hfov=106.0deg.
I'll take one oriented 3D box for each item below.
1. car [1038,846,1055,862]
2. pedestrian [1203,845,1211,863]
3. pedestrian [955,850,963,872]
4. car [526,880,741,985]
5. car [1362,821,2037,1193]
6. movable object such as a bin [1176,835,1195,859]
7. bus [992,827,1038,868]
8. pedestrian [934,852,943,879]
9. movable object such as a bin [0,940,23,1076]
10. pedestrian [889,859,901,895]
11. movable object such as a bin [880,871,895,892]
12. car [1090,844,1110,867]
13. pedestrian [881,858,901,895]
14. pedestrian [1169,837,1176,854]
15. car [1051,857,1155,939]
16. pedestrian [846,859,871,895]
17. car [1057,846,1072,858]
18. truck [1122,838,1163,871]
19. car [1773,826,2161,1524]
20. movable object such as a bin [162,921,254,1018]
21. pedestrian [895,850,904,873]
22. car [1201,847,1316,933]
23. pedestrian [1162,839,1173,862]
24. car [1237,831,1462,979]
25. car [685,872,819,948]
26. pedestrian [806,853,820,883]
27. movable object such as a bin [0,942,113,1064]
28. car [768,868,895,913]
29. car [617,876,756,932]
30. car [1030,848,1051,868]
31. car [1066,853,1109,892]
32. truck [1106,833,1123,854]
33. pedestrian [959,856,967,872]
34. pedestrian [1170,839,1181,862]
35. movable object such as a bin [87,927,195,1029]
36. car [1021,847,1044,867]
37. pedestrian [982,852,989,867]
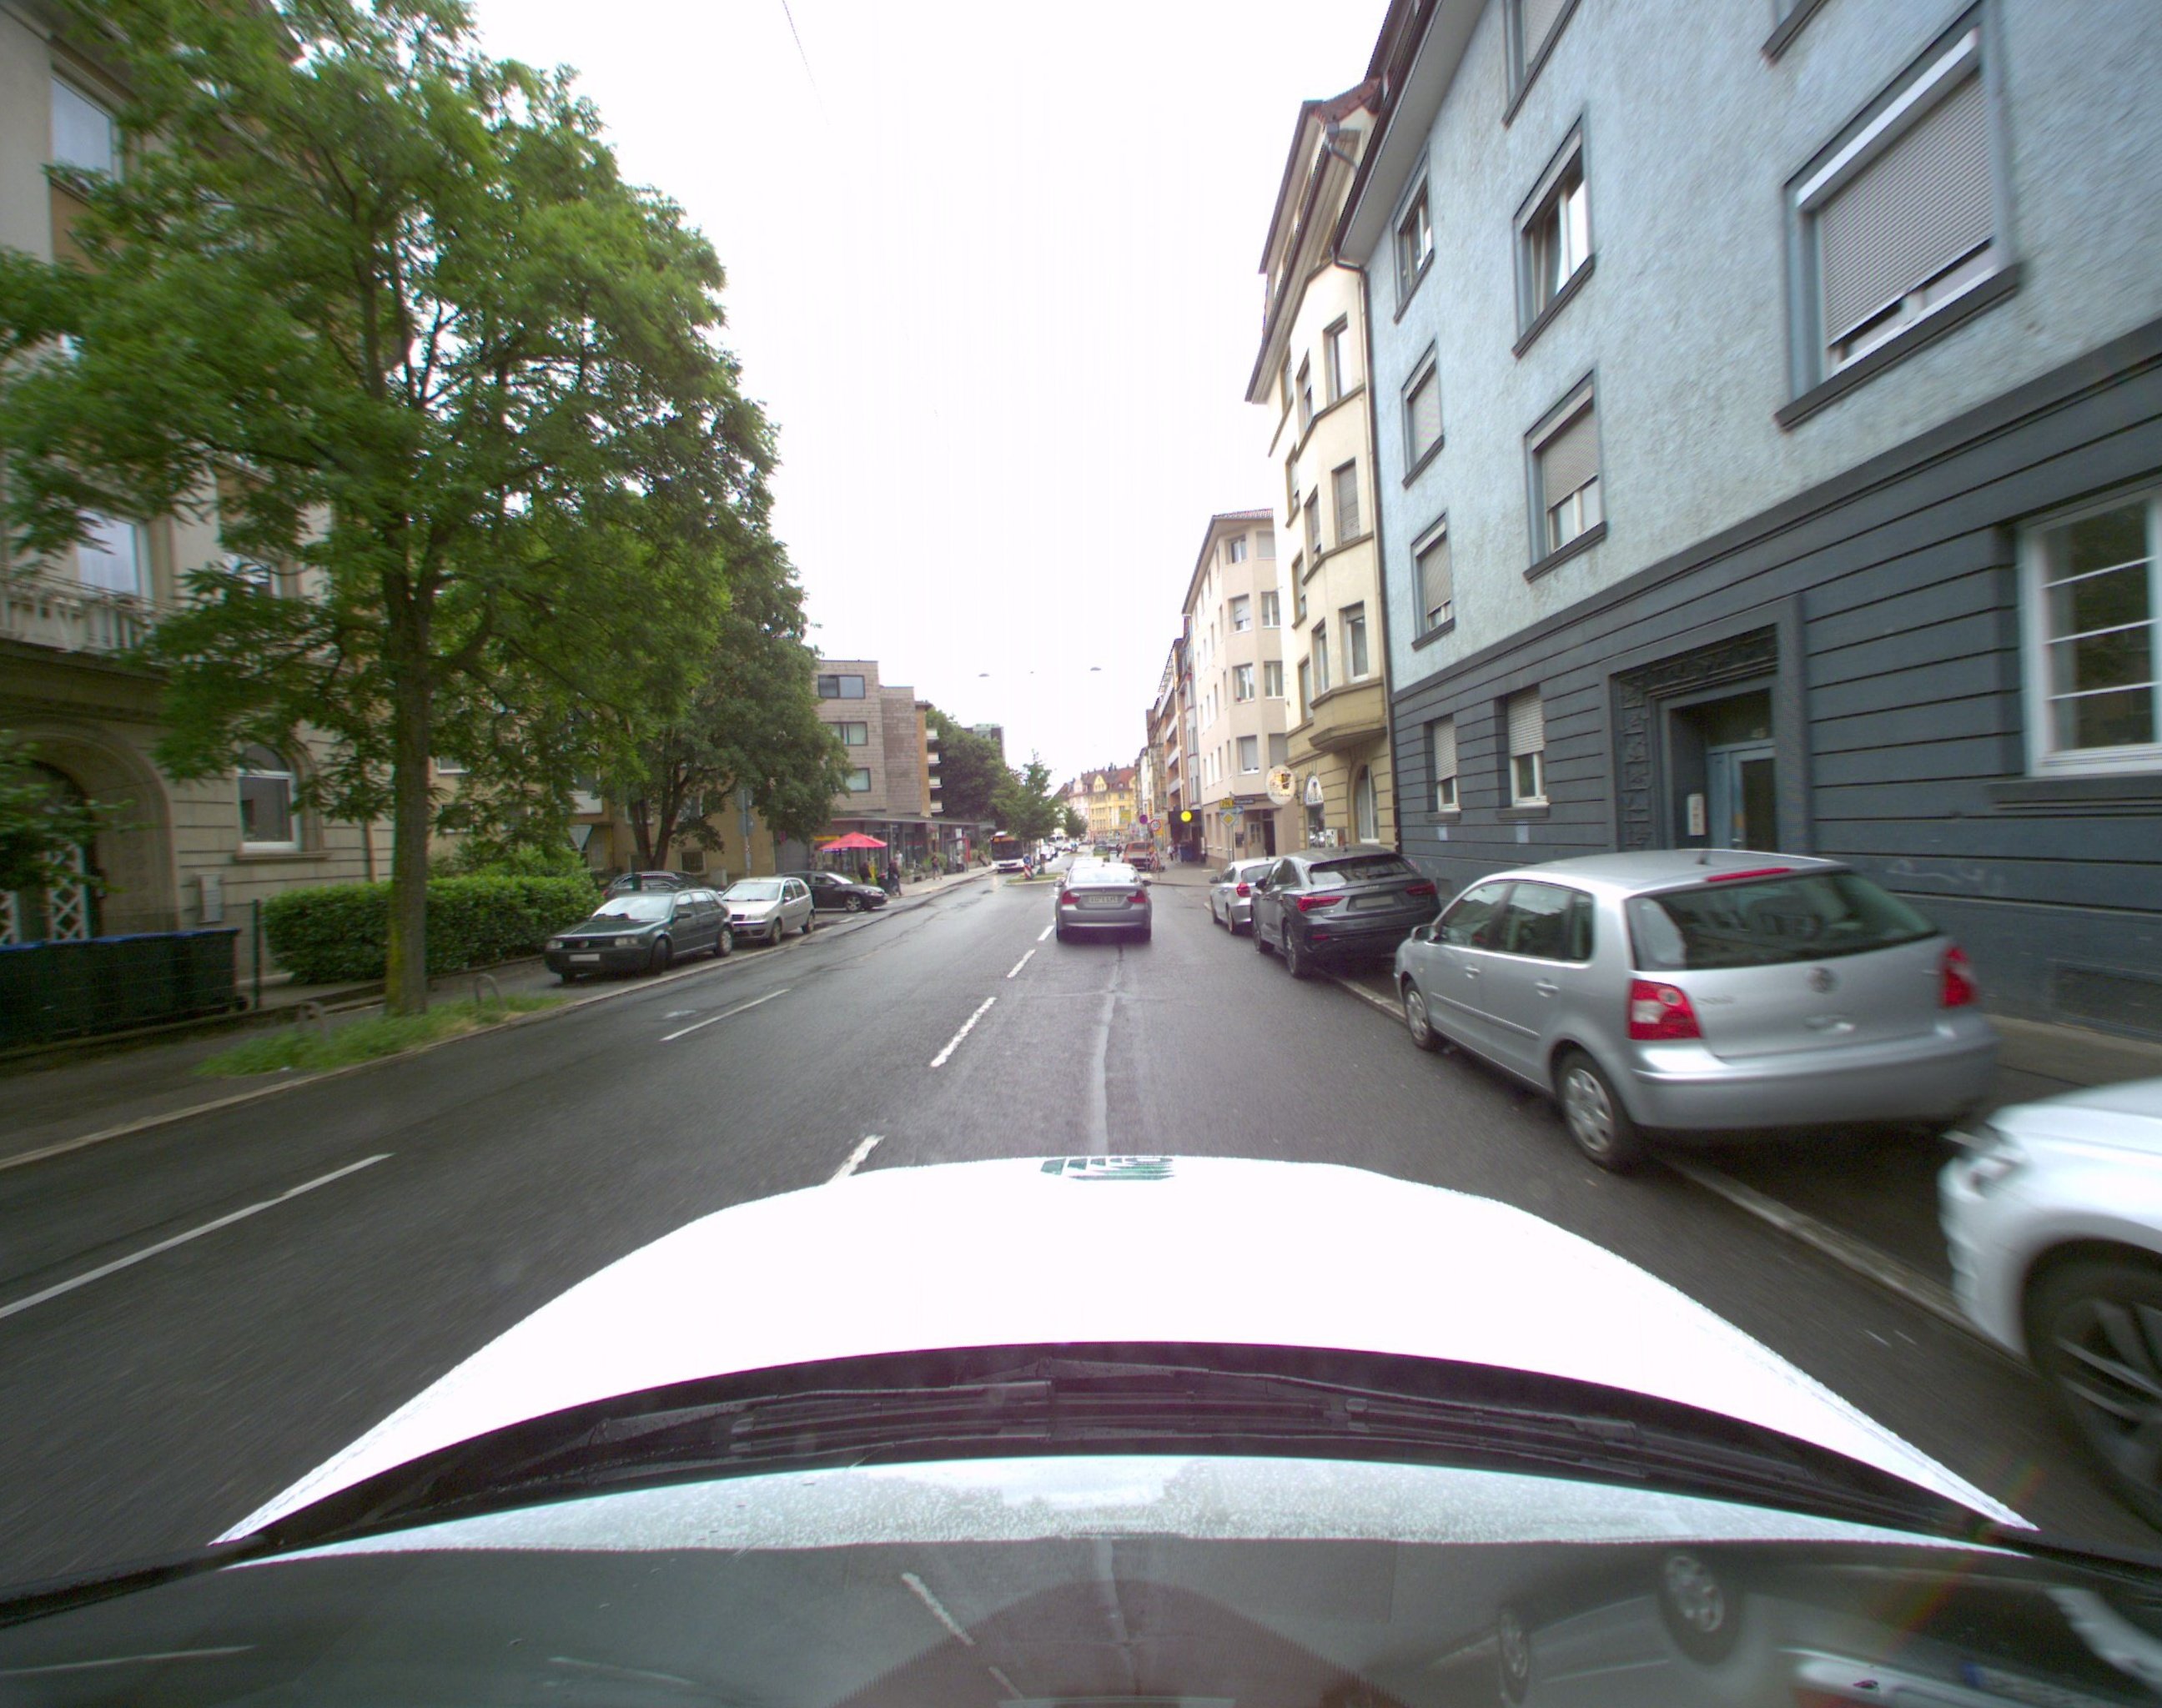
[{"bbox_3d":[-4.410,-0.005,104.798,1.986,2.014,4.000,0,-1,1],"label":"car"},{"bbox_3d":[8.494,0.008,55.071,0.411,1.203,0.357,-5,1,4],"label":"pedestrian"},{"bbox_3d":[-9.380,0.551,62.593,0.542,1.709,0.465,0,-1,-5],"label":"pedestrian"},{"bbox_3d":[-7.883,1.303,14.816,1.648,1.454,3.942,-3,0,0],"label":"car"},{"bbox_3d":[3.231,0.646,5.241,1.577,1.429,3.596,-6,0,2],"label":"car"},{"bbox_3d":[7.937,-0.500,61.819,1.119,1.702,1.433,-4,-1,-1],"label":"movable object such as a bin"},{"bbox_3d":[-5.415,-0.408,68.551,2.671,3.201,11.957,0,-1,1],"label":"bus"},{"bbox_3d":[-9.668,0.795,55.213,0.545,1.790,0.463,0,-1,-21],"label":"pedestrian"},{"bbox_3d":[-10.783,1.517,7.797,0.438,1.308,0.609,-3,0,1],"label":"movable object such as a bin"},{"bbox_3d":[-8.859,1.077,38.781,0.466,1.709,0.541,0,-1,-19],"label":"pedestrian"},{"bbox_3d":[-10.168,1.428,42.756,0.551,1.081,0.731,-4,-1,2],"label":"movable object such as a bin"},{"bbox_3d":[1.722,0.206,73.321,1.700,2.014,3.999,0,-1,0],"label":"car"},{"bbox_3d":[-9.207,1.103,39.368,0.742,1.709,0.676,-5,0,-19],"label":"pedestrian"},{"bbox_3d":[8.967,-0.834,79.847,0.611,1.661,0.756,0,-1,8],"label":"pedestrian"},{"bbox_3d":[0.435,0.777,15.549,1.749,1.362,3.166,-1,-1,2],"label":"car"},{"bbox_3d":[-11.061,1.153,40.497,1.061,1.731,0.712,-2,0,-8],"label":"pedestrian"},{"bbox_3d":[-2.813,-0.359,142.235,1.983,2.014,4.008,0,-1,7],"label":"car"},{"bbox_3d":[4.177,0.043,55.704,2.210,2.117,4.647,1,0,-3],"label":"truck"},{"bbox_3d":[3.100,0.662,0.630,1.723,1.429,3.975,-6,0,2],"label":"car"},{"bbox_3d":[-10.693,1.402,9.989,0.438,1.081,0.590,-3,0,1],"label":"movable object such as a bin"},{"bbox_3d":[-13.133,0.545,58.957,0.660,1.706,0.657,0,-1,-13],"label":"pedestrian"},{"bbox_3d":[3.573,0.673,17.046,1.563,1.464,4.091,-5,0,2],"label":"car"},{"bbox_3d":[6.585,-0.262,61.951,0.745,1.661,0.838,0,-1,8],"label":"pedestrian"},{"bbox_3d":[3.487,0.592,11.481,1.811,1.557,4.295,-5,0,2],"label":"car"},{"bbox_3d":[-7.589,1.236,19.192,1.627,1.454,3.837,-3,0,-2],"label":"car"},{"bbox_3d":[-16.712,0.881,50.818,0.637,1.816,0.632,-3,1,-27],"label":"pedestrian"},{"bbox_3d":[-10.713,1.528,8.476,0.438,1.130,0.657,-3,0,1],"label":"movable object such as a bin"},{"bbox_3d":[-8.566,1.237,28.171,3.802,1.390,1.743,-2,-1,1],"label":"car"},{"bbox_3d":[-13.397,1.669,27.814,3.796,1.582,1.694,-3,1,1],"label":"car"},{"bbox_3d":[-4.381,0.455,88.074,1.986,2.014,4.000,0,-1,1],"label":"car"},{"bbox_3d":[0.226,0.707,31.804,1.597,1.420,3.287,0,-1,0],"label":"car"},{"bbox_3d":[4.446,-1.365,107.977,2.209,2.544,4.780,0,-1,1],"label":"truck"},{"bbox_3d":[-9.343,0.772,64.479,0.463,1.230,0.545,0,-1,3],"label":"pedestrian"},{"bbox_3d":[7.007,-0.273,60.519,0.748,1.661,0.753,0,-1,5],"label":"pedestrian"},{"bbox_3d":[-10.729,1.396,9.318,0.424,1.040,0.651,-3,0,1],"label":"movable object such as a bin"},{"bbox_3d":[-4.838,0.330,81.015,1.986,2.014,4.000,0,-1,1],"label":"car"},{"bbox_3d":[-9.220,0.532,78.499,0.617,1.378,0.545,0,-1,3],"label":"pedestrian"}]
